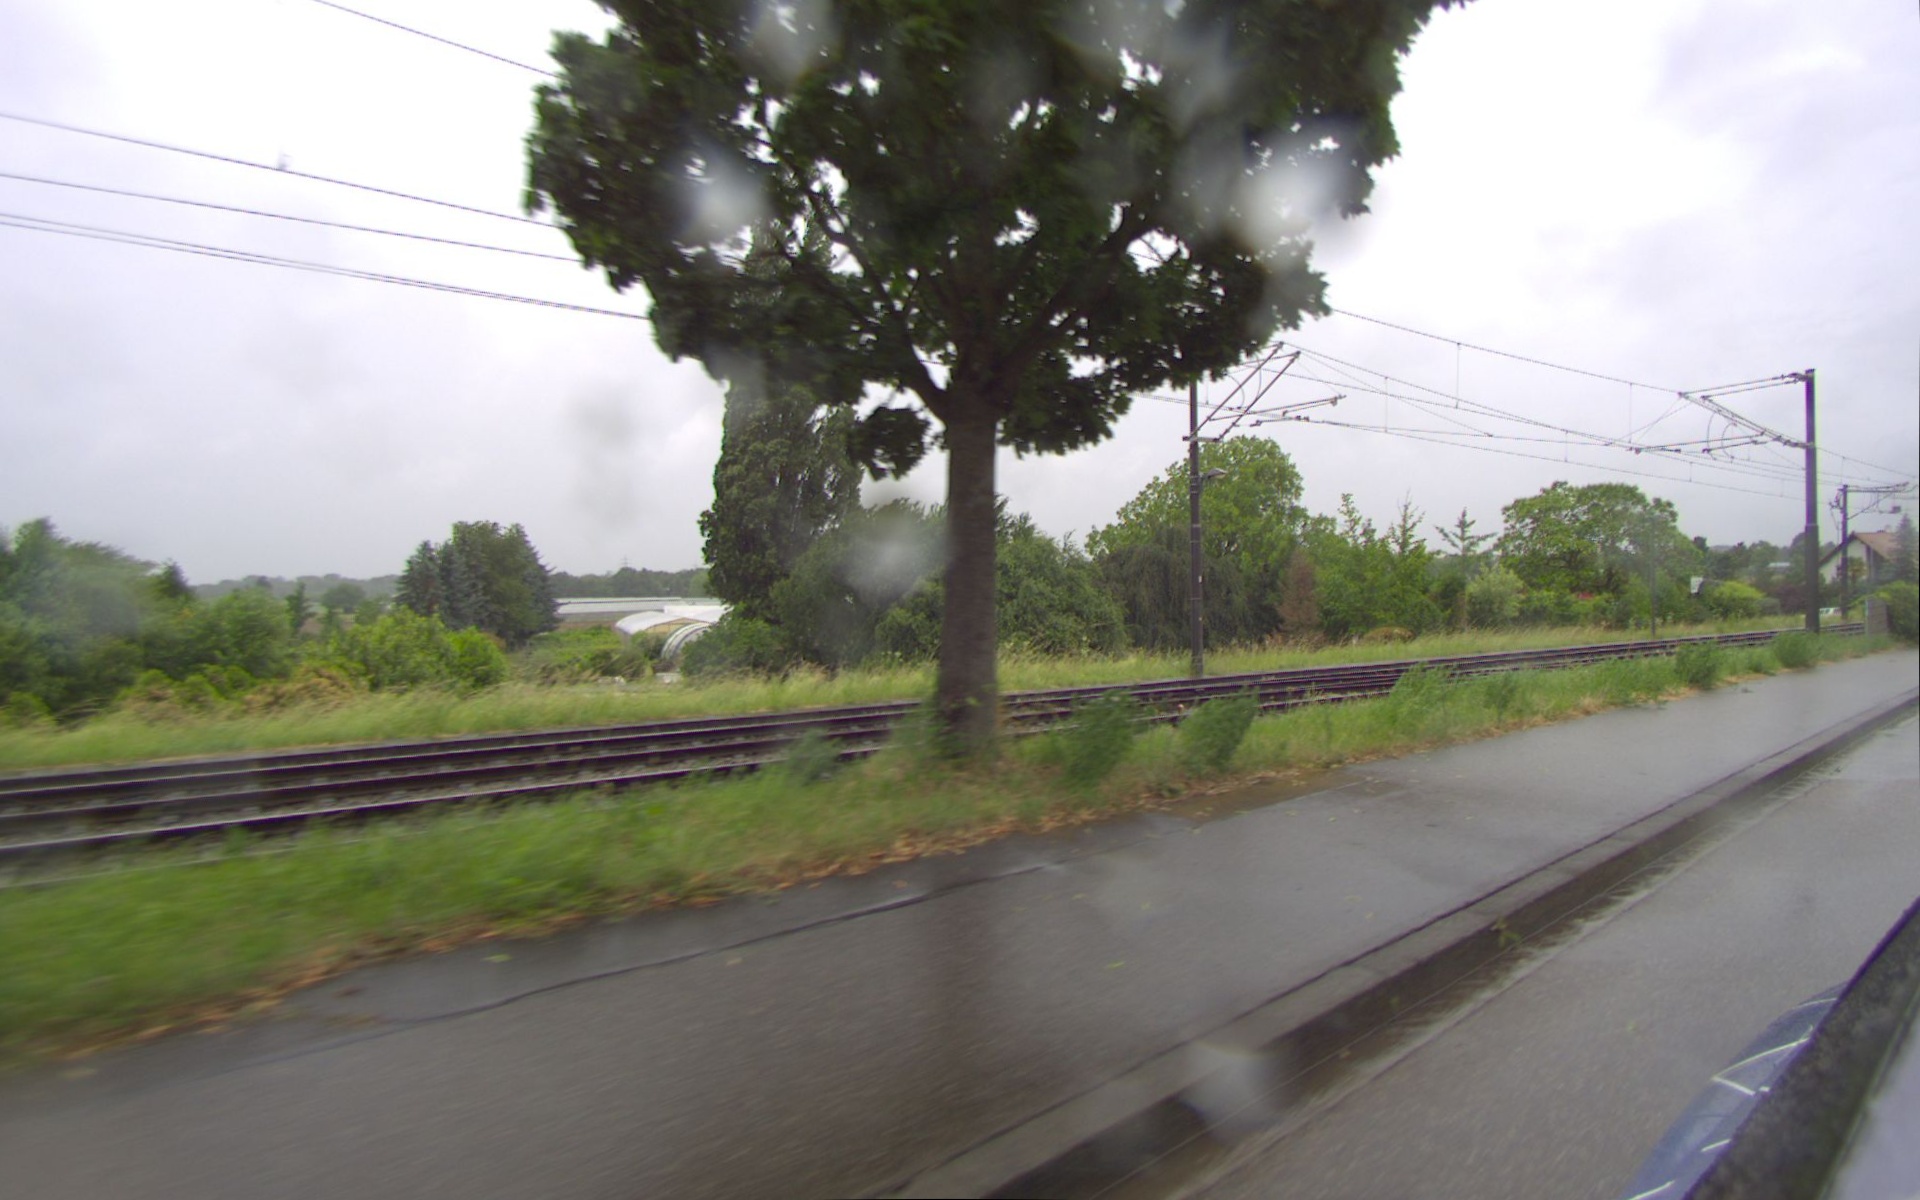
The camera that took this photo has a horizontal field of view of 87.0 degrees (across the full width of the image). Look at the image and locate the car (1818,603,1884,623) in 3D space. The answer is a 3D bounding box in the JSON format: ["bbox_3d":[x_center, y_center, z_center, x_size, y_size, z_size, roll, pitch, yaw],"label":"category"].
[{"bbox_3d":[82.102,1.190,93.313,1.839,1.658,4.204,-3,1,-20],"label":"car"}]
